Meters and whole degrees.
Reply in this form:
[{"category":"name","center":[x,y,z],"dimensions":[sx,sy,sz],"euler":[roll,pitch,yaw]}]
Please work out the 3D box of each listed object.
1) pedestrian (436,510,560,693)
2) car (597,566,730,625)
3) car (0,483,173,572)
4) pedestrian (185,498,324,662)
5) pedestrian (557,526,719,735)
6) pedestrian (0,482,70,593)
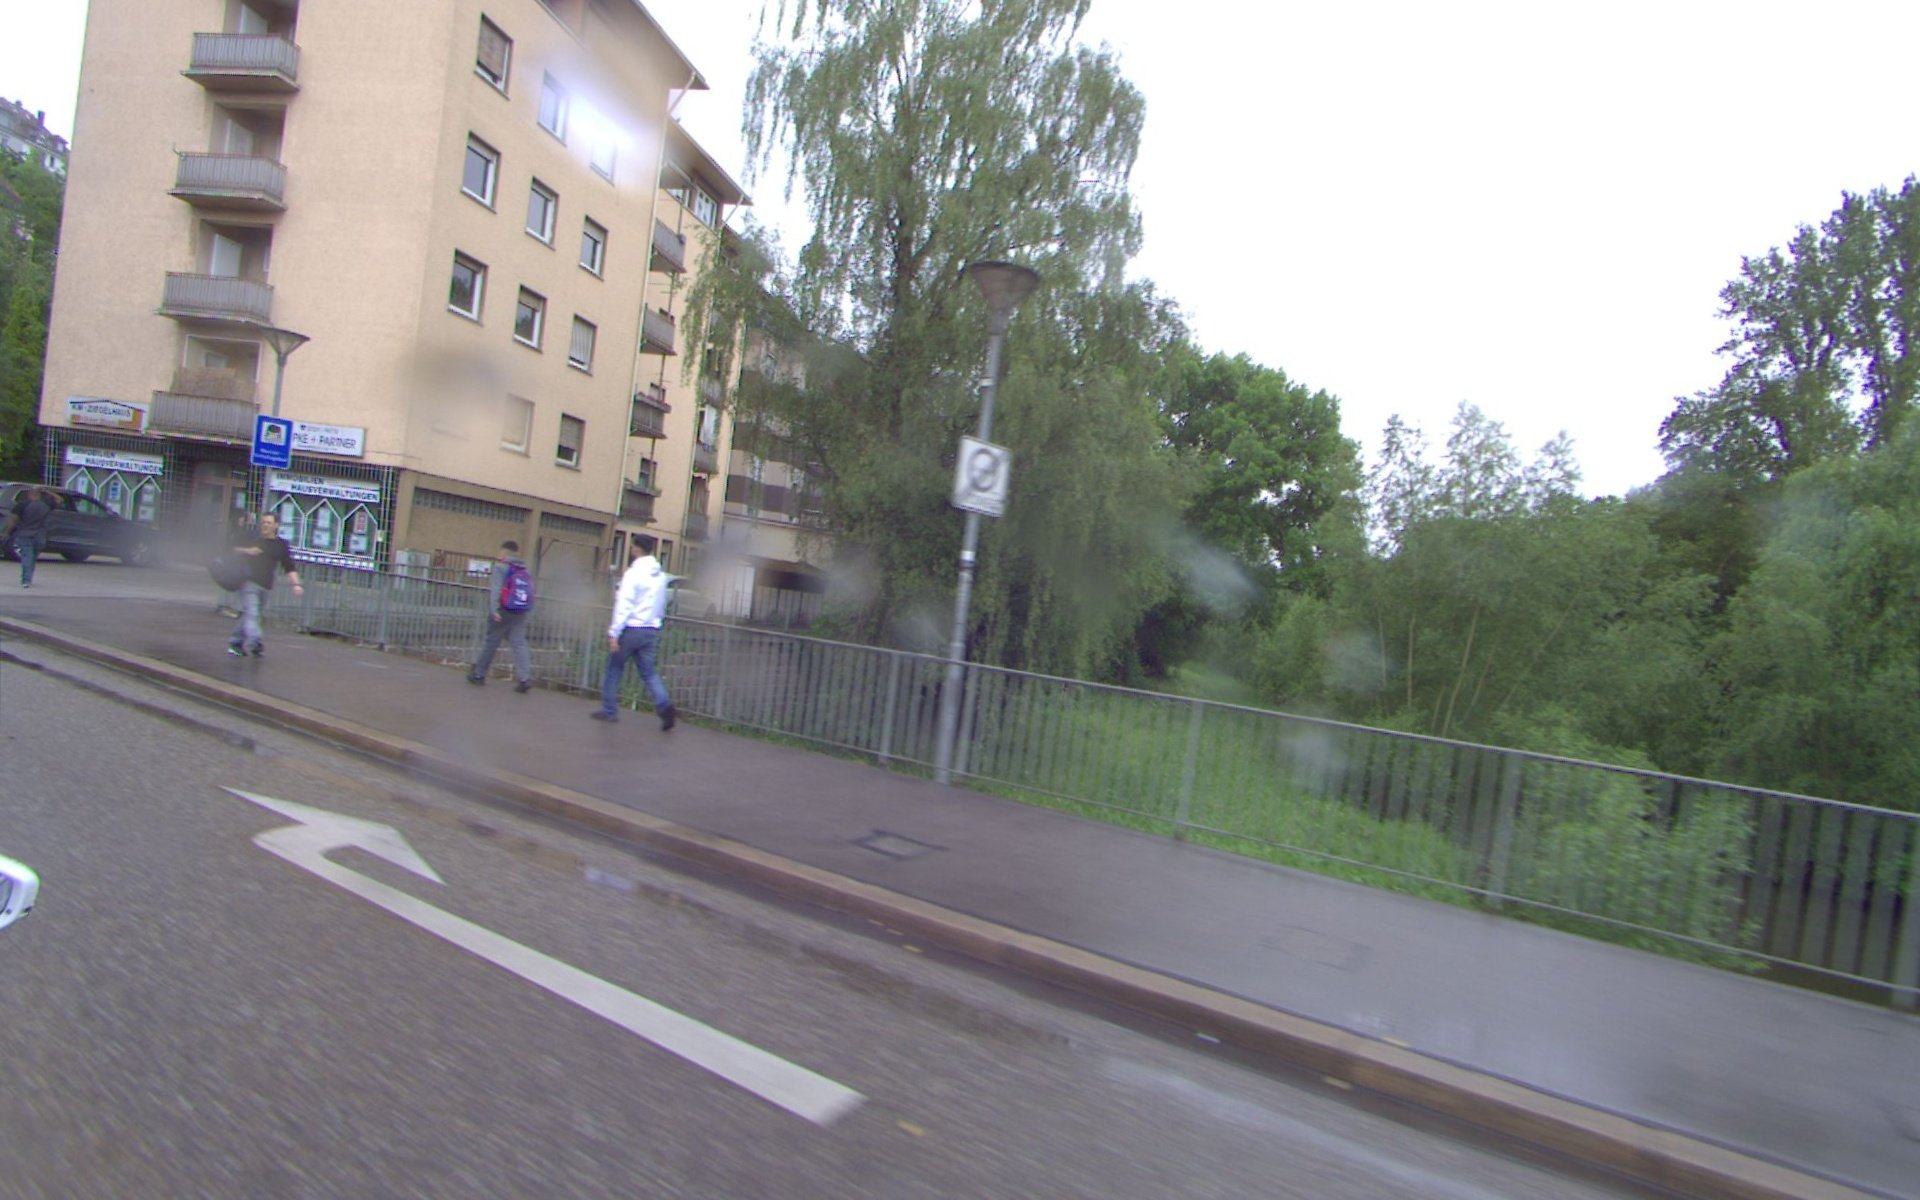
[{"category":"pedestrian","center":[-4.942,0.020,10.774],"dimensions":[0.768,1.832,0.761],"euler":[8,2,31]},{"category":"car","center":[-9.210,-0.083,31.633],"dimensions":[1.782,1.393,4.455],"euler":[9,1,15]},{"category":"car","center":[-20.300,-1.630,22.322],"dimensions":[1.847,1.670,4.381],"euler":[6,1,6]},{"category":"pedestrian","center":[-7.614,-0.200,10.868],"dimensions":[0.825,1.640,0.863],"euler":[7,2,31]},{"category":"pedestrian","center":[-3.003,0.274,9.390],"dimensions":[1.043,1.774,0.780],"euler":[7,1,31]},{"category":"pedestrian","center":[-15.278,-1.024,16.484],"dimensions":[0.768,1.699,0.761],"euler":[8,3,31]}]
